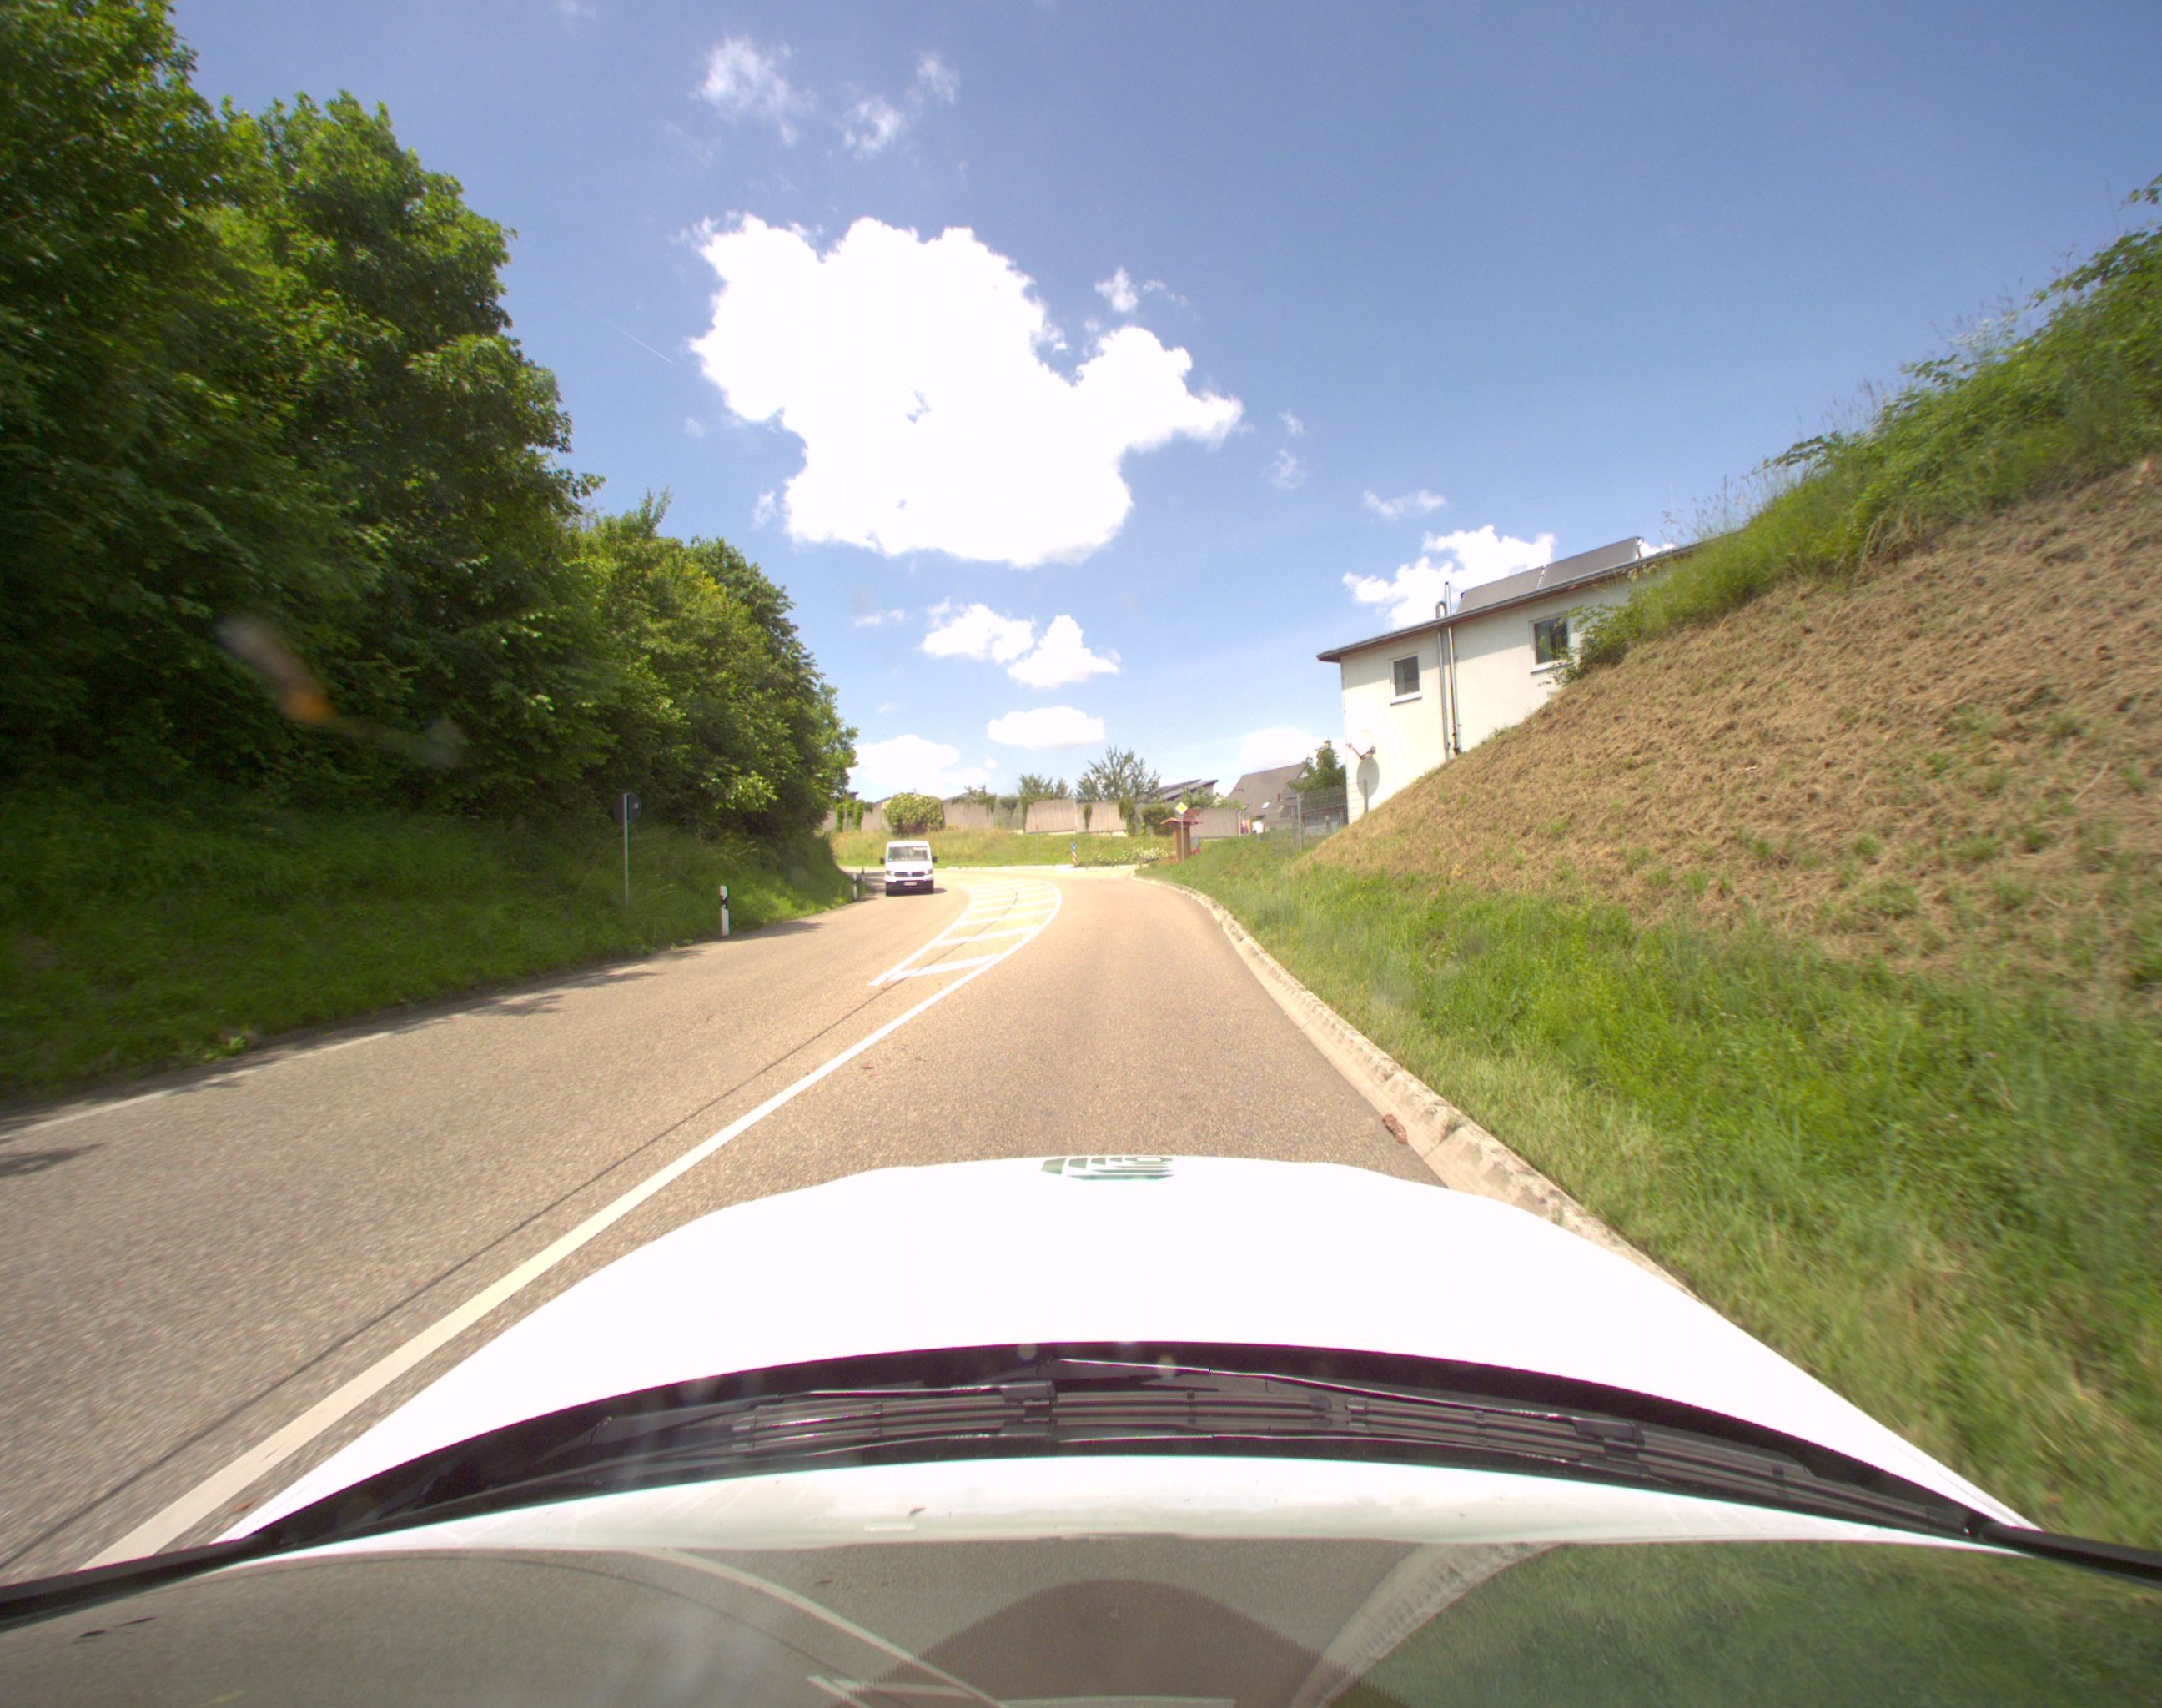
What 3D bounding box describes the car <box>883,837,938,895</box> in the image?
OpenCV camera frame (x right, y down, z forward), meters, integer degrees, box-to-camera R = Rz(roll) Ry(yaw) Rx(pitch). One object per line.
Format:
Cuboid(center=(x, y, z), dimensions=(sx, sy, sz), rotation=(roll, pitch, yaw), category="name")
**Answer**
Cuboid(center=(-7.491, 0.512, 36.168), dimensions=(2.086, 2.290, 5.924), rotation=(-2, 0, -11), category="car")
